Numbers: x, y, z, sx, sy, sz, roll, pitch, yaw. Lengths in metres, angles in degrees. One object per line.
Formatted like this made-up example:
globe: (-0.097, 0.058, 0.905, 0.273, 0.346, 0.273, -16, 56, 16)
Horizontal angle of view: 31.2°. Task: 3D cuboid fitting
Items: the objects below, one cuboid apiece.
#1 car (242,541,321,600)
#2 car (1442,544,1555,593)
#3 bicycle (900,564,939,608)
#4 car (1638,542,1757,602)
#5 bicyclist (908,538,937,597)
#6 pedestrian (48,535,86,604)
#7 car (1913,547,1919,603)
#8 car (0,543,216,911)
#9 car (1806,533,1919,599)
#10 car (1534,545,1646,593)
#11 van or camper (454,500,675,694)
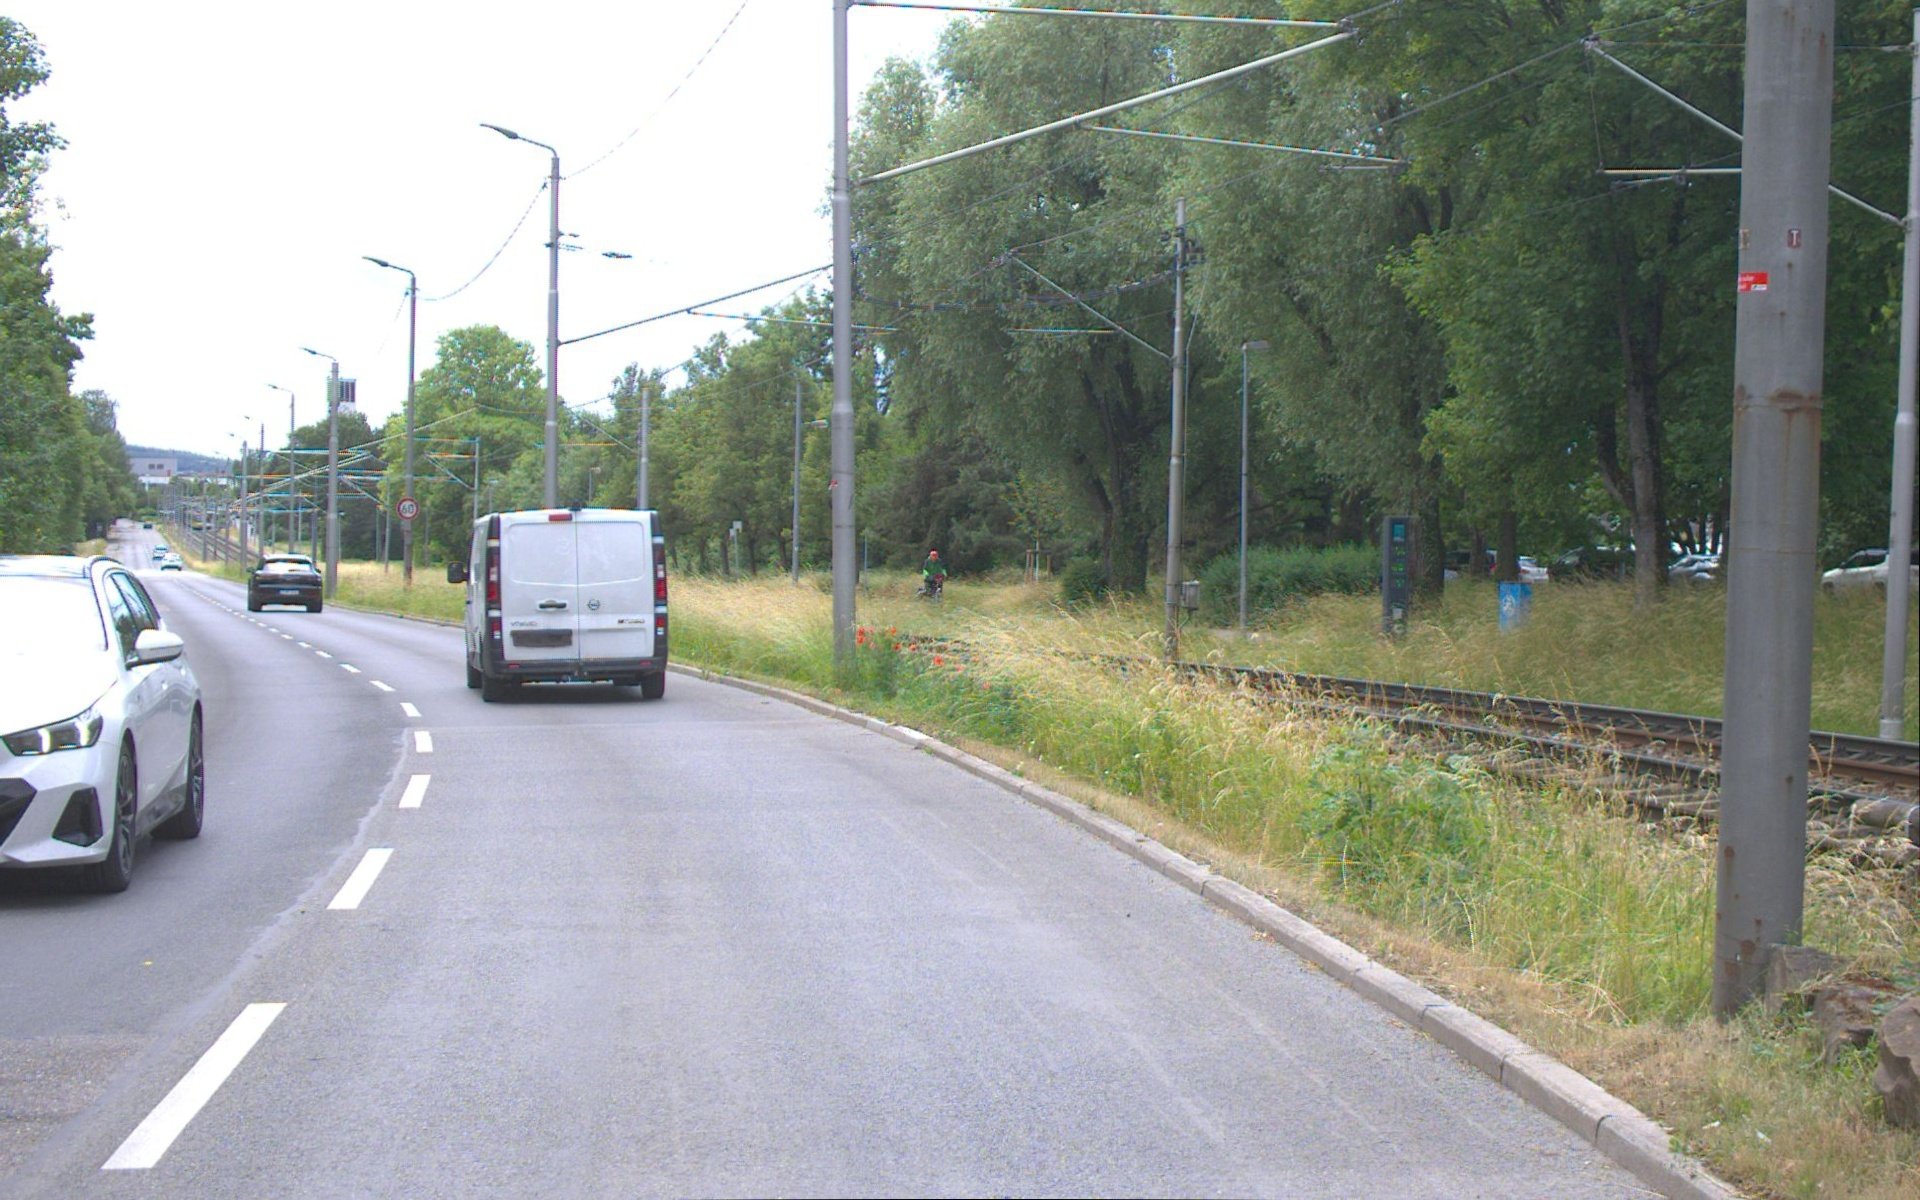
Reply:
car: (-19.091, -0.838, 96.631, 1.993, 1.587, 4.001, 0, 1, -14)
car: (20.680, -1.205, 132.147, 1.994, 1.806, 3.999, 0, 1, -39)
bicycle: (-1.184, -0.408, 99.542, 0.580, 1.242, 1.930, 1, 1, -17)
car: (21.924, -0.855, 102.358, 1.993, 1.694, 4.001, 2, 0, -11)
bicyclist: (-1.085, -0.945, 99.251, 0.580, 1.690, 0.936, 1, 0, -17)
pedestrian: (-23.290, -0.807, 89.665, 0.867, 1.763, 0.789, -2, 2, -17)
car: (25.791, -0.607, 86.118, 1.993, 1.438, 4.001, 1, 1, -13)
car: (-4.788, 0.510, 16.492, 1.929, 1.517, 4.660, -2, 1, -7)
car: (24.502, -0.894, 91.692, 1.993, 1.694, 4.230, 2, 0, -13)
car: (24.760, -1.224, 135.194, 1.994, 1.806, 3.999, 0, 1, -39)
van or camper: (-4.210, -0.054, 36.081, 1.941, 1.890, 4.286, -1, 1, -11)
